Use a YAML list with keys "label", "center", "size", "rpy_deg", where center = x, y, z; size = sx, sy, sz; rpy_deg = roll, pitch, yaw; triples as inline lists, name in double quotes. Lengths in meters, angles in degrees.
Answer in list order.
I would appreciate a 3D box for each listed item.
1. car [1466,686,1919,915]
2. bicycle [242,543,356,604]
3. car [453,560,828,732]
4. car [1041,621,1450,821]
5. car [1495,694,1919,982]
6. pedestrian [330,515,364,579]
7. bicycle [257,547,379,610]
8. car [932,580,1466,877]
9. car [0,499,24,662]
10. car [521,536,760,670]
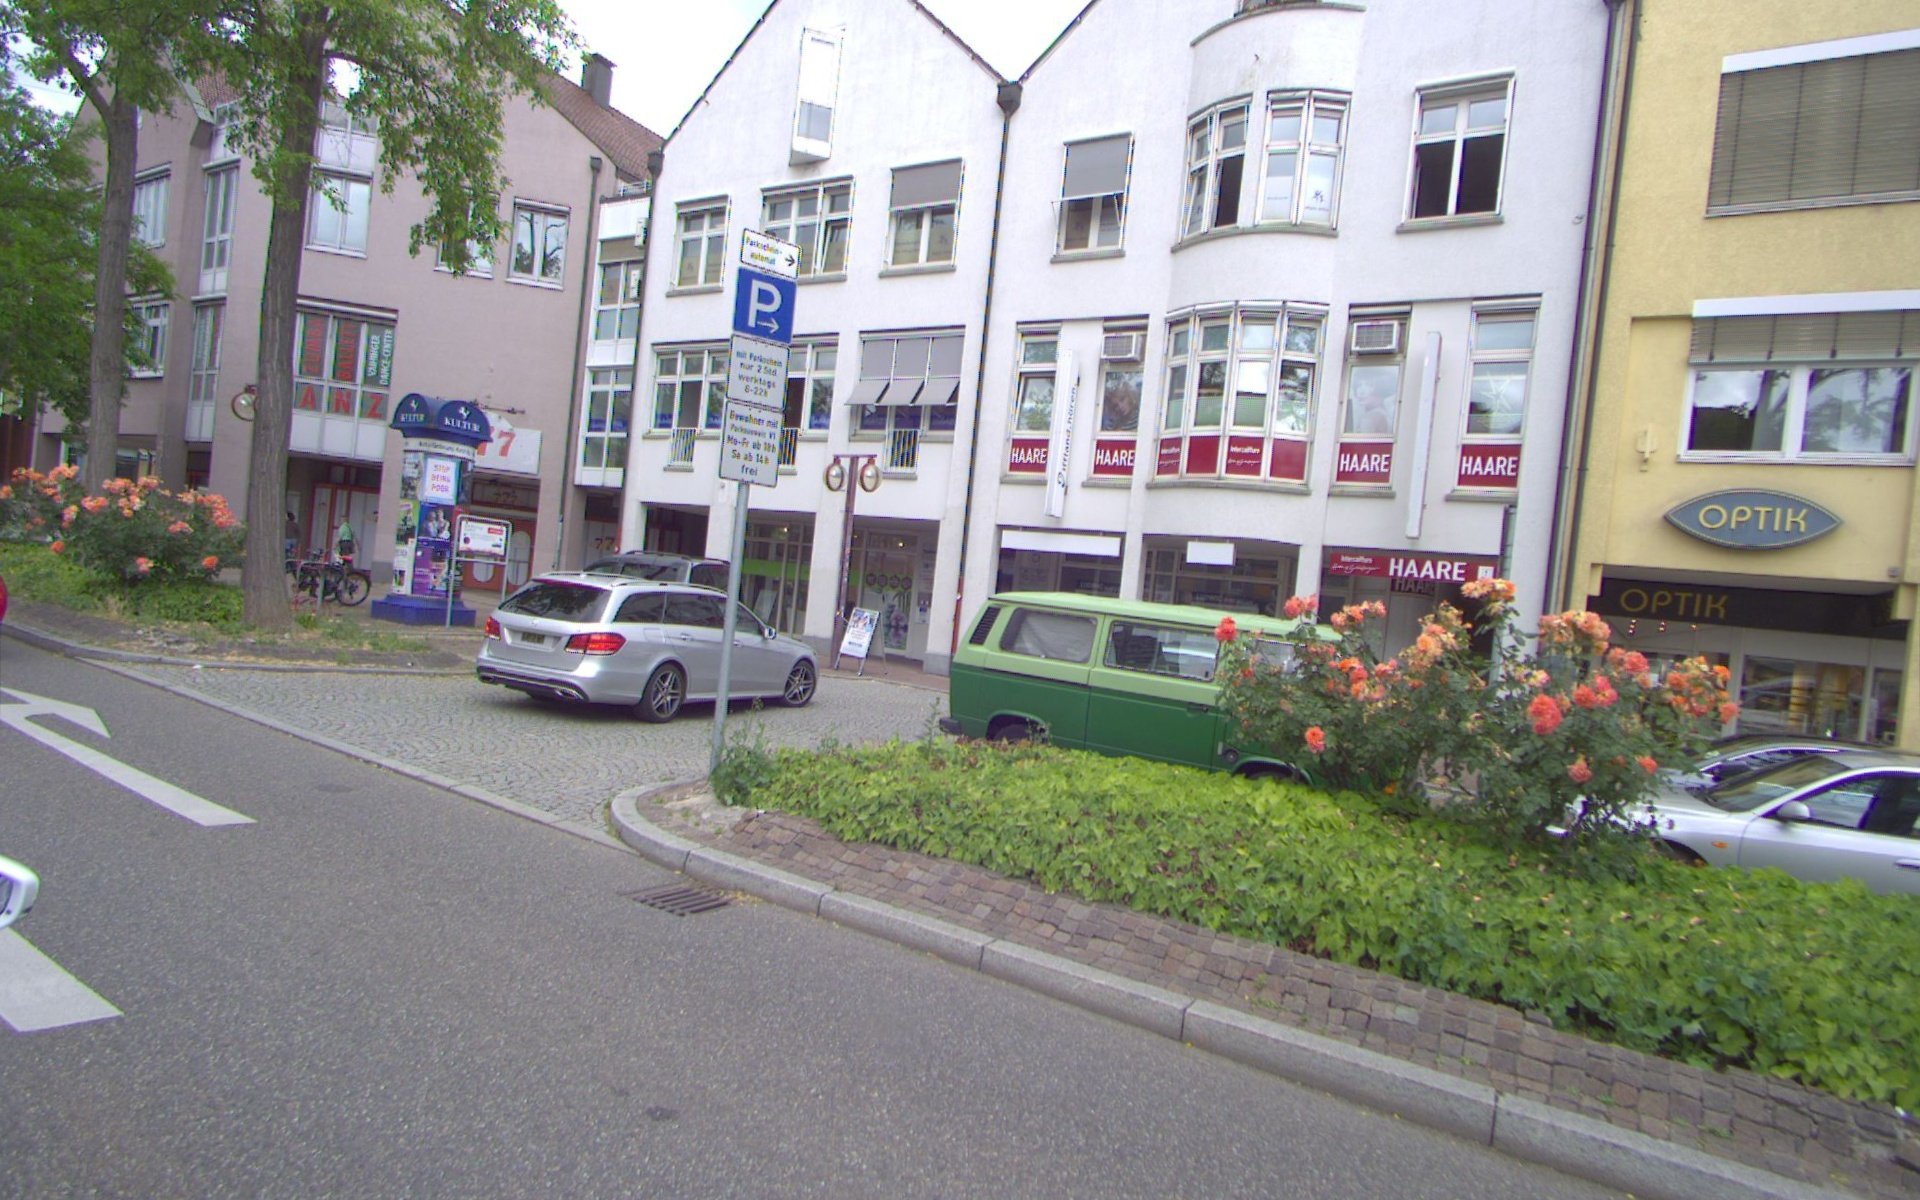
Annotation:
- label: "car"
  center: [7.554, 1.882, 9.967]
  size: [4.344, 1.394, 1.999]
  rpy_deg: [7, 1, 30]
- label: "bicycle"
  center: [-13.000, -0.503, 19.824]
  size: [0.440, 1.009, 1.769]
  rpy_deg: [7, 0, 35]
- label: "car"
  center: [-3.515, 0.517, 12.044]
  size: [1.787, 1.467, 4.366]
  rpy_deg: [8, 1, 22]
- label: "car"
  center: [3.386, 1.303, 12.140]
  size: [4.319, 1.562, 1.798]
  rpy_deg: [7, 1, 30]
- label: "car"
  center: [6.462, 1.760, 7.355]
  size: [4.344, 1.468, 1.765]
  rpy_deg: [7, 0, 30]
- label: "pedestrian"
  center: [-17.175, -1.476, 28.178]
  size: [0.631, 1.697, 0.584]
  rpy_deg: [7, 1, -30]
- label: "bicycle"
  center: [-12.493, -0.405, 19.623]
  size: [0.460, 1.009, 1.902]
  rpy_deg: [7, 0, 35]
- label: "car"
  center: [2.227, 1.018, 9.742]
  size: [4.527, 1.900, 1.882]
  rpy_deg: [7, 1, 30]
- label: "car"
  center: [-10.390, -0.412, 9.317]
  size: [3.293, 1.459, 1.590]
  rpy_deg: [7, -2, 32]
- label: "car"
  center: [-5.715, 0.035, 17.916]
  size: [3.898, 1.855, 1.640]
  rpy_deg: [7, 1, 27]
